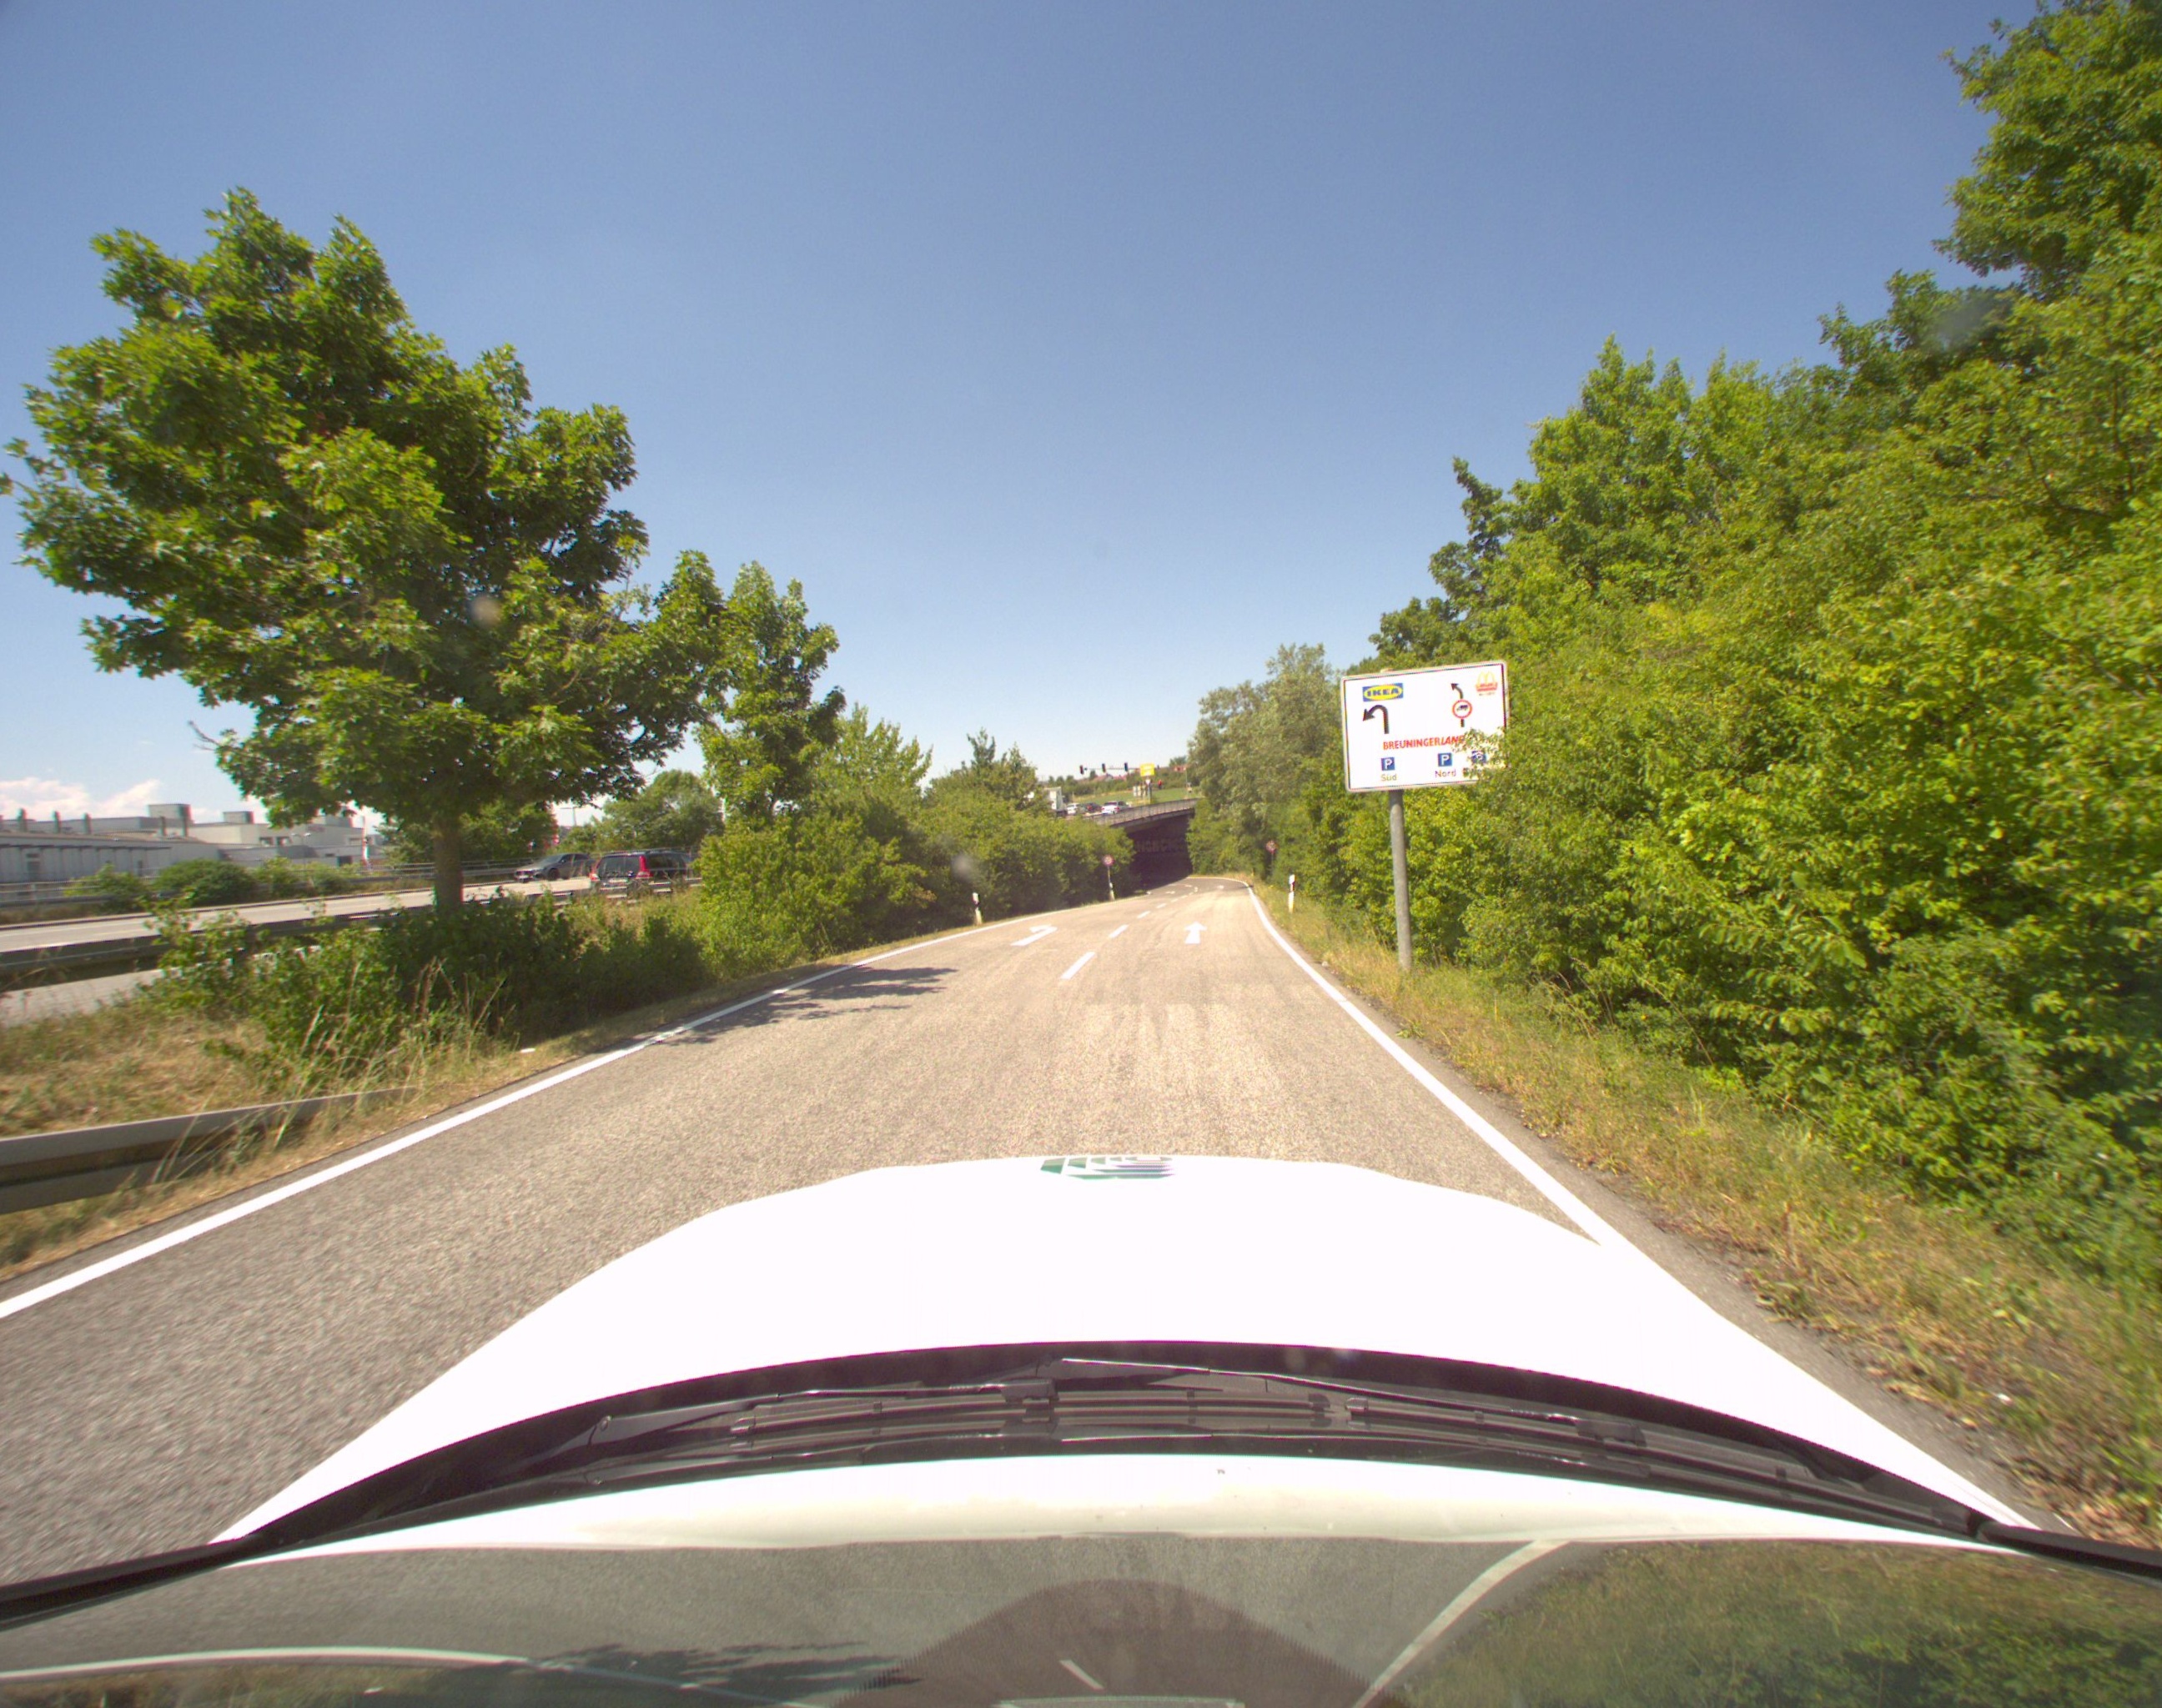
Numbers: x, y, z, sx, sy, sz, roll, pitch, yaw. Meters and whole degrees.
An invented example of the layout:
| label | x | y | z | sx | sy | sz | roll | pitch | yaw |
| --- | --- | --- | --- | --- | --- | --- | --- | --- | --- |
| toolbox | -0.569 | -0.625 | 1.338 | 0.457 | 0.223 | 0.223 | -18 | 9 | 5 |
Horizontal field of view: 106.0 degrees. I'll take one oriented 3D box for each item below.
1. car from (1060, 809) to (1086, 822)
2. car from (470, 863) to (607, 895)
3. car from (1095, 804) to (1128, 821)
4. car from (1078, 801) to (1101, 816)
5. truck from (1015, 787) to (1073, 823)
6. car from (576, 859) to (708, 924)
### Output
| label | x | y | z | sx | sy | sz | roll | pitch | yaw |
| --- | --- | --- | --- | --- | --- | --- | --- | --- | --- |
| car | -0.943 | -4.695 | 98.625 | 1.882 | 1.363 | 4.018 | -2 | 0 | 17 |
| car | -27.657 | 1.249 | 41.827 | 2.136 | 1.442 | 5.860 | -1 | 0 | 14 |
| car | 2.903 | -3.907 | 76.483 | 1.977 | 1.420 | 4.020 | -5 | 1 | 19 |
| car | 1.128 | -5.872 | 105.787 | 1.979 | 1.618 | 4.016 | -2 | 0 | 14 |
| truck | -4.067 | -5.550 | 92.122 | 3.002 | 3.589 | 8.949 | -5 | 1 | 20 |
| car | -12.434 | 0.972 | 23.434 | 1.731 | 1.545 | 4.720 | -4 | 0 | -9 |
